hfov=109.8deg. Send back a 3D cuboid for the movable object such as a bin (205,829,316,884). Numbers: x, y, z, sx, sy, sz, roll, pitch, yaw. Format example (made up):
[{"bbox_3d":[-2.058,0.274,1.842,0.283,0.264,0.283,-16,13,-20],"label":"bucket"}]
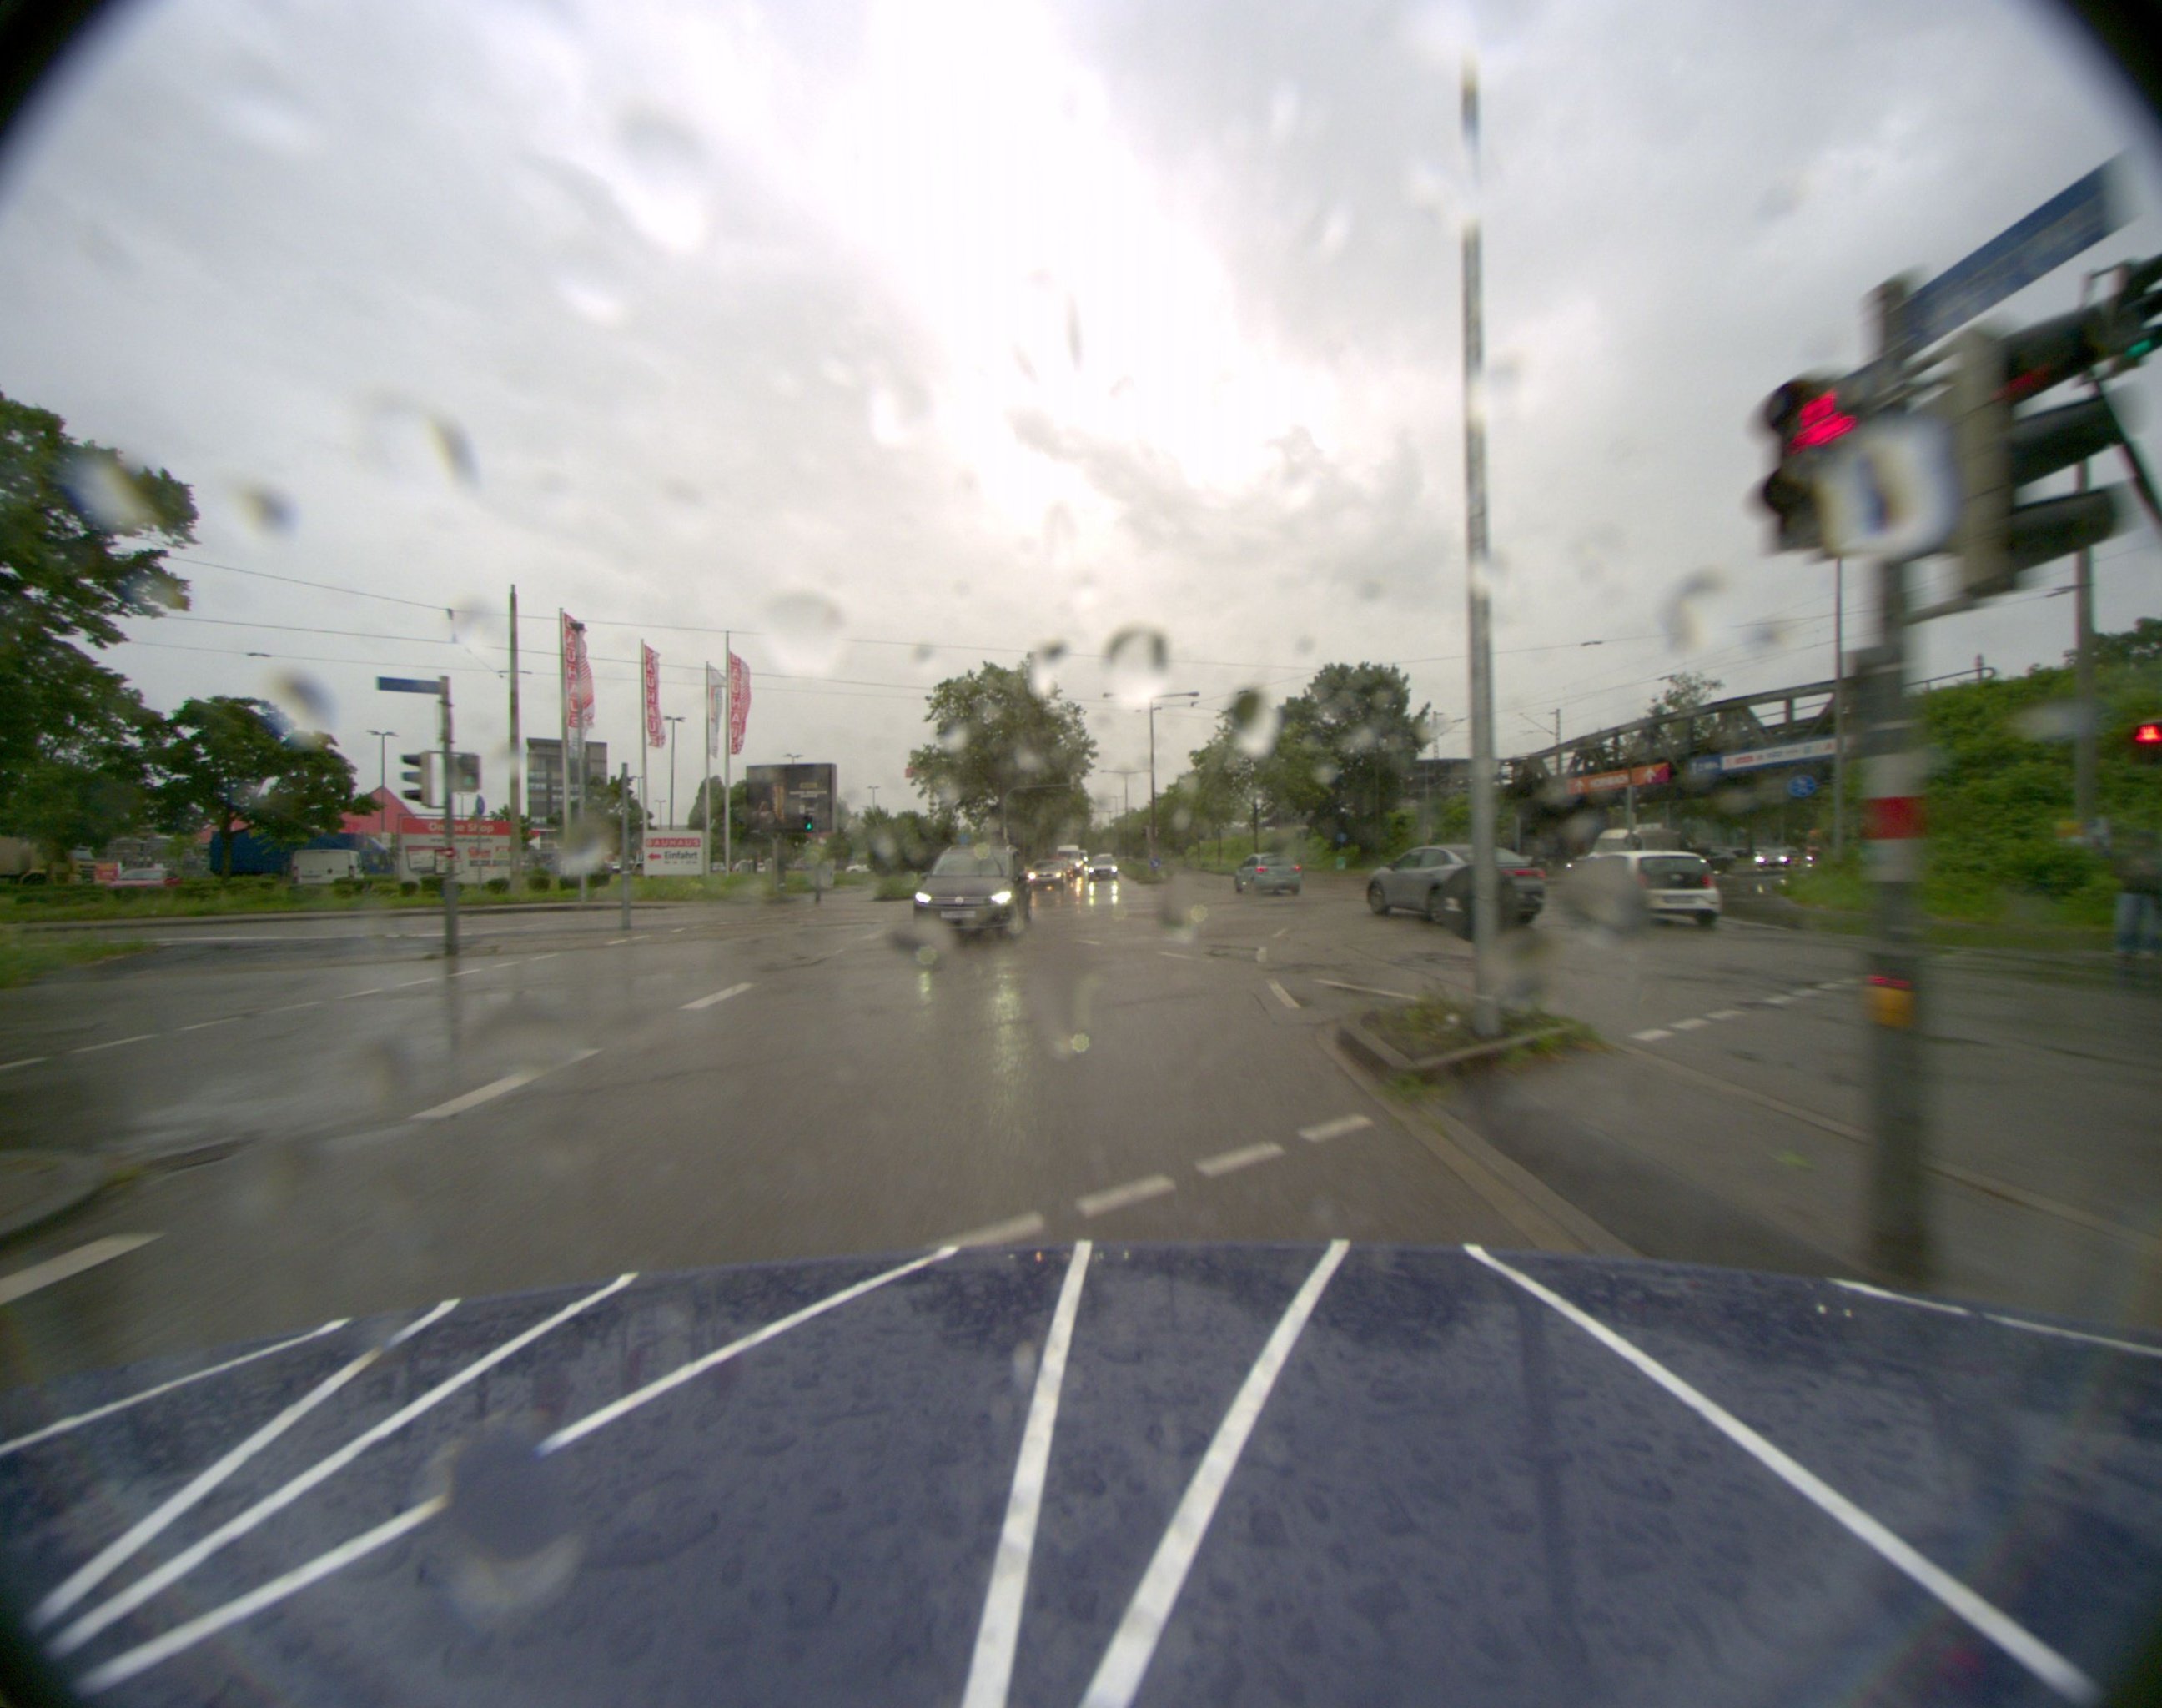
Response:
[{"bbox_3d":[-51.932,0.093,48.255,4.260,3.266,2.321,-3,2,-36],"label":"movable object such as a bin"}]

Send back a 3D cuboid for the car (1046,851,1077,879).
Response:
[{"bbox_3d":[-1.283,0.692,51.229,1.699,1.759,4.559,-1,0,3],"label":"car"}]

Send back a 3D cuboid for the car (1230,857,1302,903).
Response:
[{"bbox_3d":[6.965,0.931,28.967,1.697,1.592,3.623,0,0,-3],"label":"car"}]

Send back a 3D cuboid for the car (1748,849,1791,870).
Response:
[{"bbox_3d":[55.039,0.412,60.744,3.812,1.545,1.690,-1,1,-34],"label":"car"}]

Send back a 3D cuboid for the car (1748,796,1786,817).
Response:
[{"bbox_3d":[69.891,-4.804,77.445,4.006,2.002,1.995,-3,2,-34],"label":"car"}]

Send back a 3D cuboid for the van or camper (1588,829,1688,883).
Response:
[{"bbox_3d":[29.606,0.053,40.259,6.940,2.647,1.995,-1,1,-34],"label":"van or camper"}]

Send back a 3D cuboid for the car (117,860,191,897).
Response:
[{"bbox_3d":[-41.569,1.050,34.060,3.988,1.565,2.004,0,1,38],"label":"car"}]

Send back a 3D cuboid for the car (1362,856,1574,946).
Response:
[{"bbox_3d":[7.831,0.851,15.951,1.977,1.592,4.386,0,0,-4],"label":"car"}]

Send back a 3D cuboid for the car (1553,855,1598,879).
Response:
[{"bbox_3d":[29.003,0.727,44.541,1.689,1.339,3.476,0,1,42],"label":"car"}]

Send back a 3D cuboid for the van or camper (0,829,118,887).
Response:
[{"bbox_3d":[-61.745,0.311,42.587,8.994,3.139,2.979,-3,2,-34],"label":"van or camper"}]

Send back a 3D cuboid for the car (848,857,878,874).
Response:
[{"bbox_3d":[-21.673,1.092,75.661,1.822,1.610,3.999,0,1,0],"label":"car"}]

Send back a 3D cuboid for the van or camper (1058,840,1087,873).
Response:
[{"bbox_3d":[-0.658,0.211,63.066,2.100,2.579,4.776,-2,0,3],"label":"van or camper"}]

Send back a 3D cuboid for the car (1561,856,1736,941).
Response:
[{"bbox_3d":[12.043,0.860,16.410,1.651,1.592,3.569,0,0,11],"label":"car"}]

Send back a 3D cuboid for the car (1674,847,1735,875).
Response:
[{"bbox_3d":[36.213,0.382,44.140,3.812,1.545,1.690,-1,1,-34],"label":"car"}]

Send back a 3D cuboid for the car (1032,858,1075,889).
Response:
[{"bbox_3d":[-1.317,0.945,38.142,1.806,1.422,4.387,-1,0,2],"label":"car"}]

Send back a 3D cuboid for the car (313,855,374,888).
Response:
[{"bbox_3d":[-36.964,0.832,38.039,3.727,1.565,1.897,0,1,42],"label":"car"}]

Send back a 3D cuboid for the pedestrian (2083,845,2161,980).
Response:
[{"bbox_3d":[14.257,0.768,10.309,0.485,1.777,0.626,-1,1,-6],"label":"pedestrian"}]

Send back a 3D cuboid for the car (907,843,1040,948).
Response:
[{"bbox_3d":[-1.902,0.688,14.722,1.861,1.716,4.190,-1,0,1],"label":"car"}]
